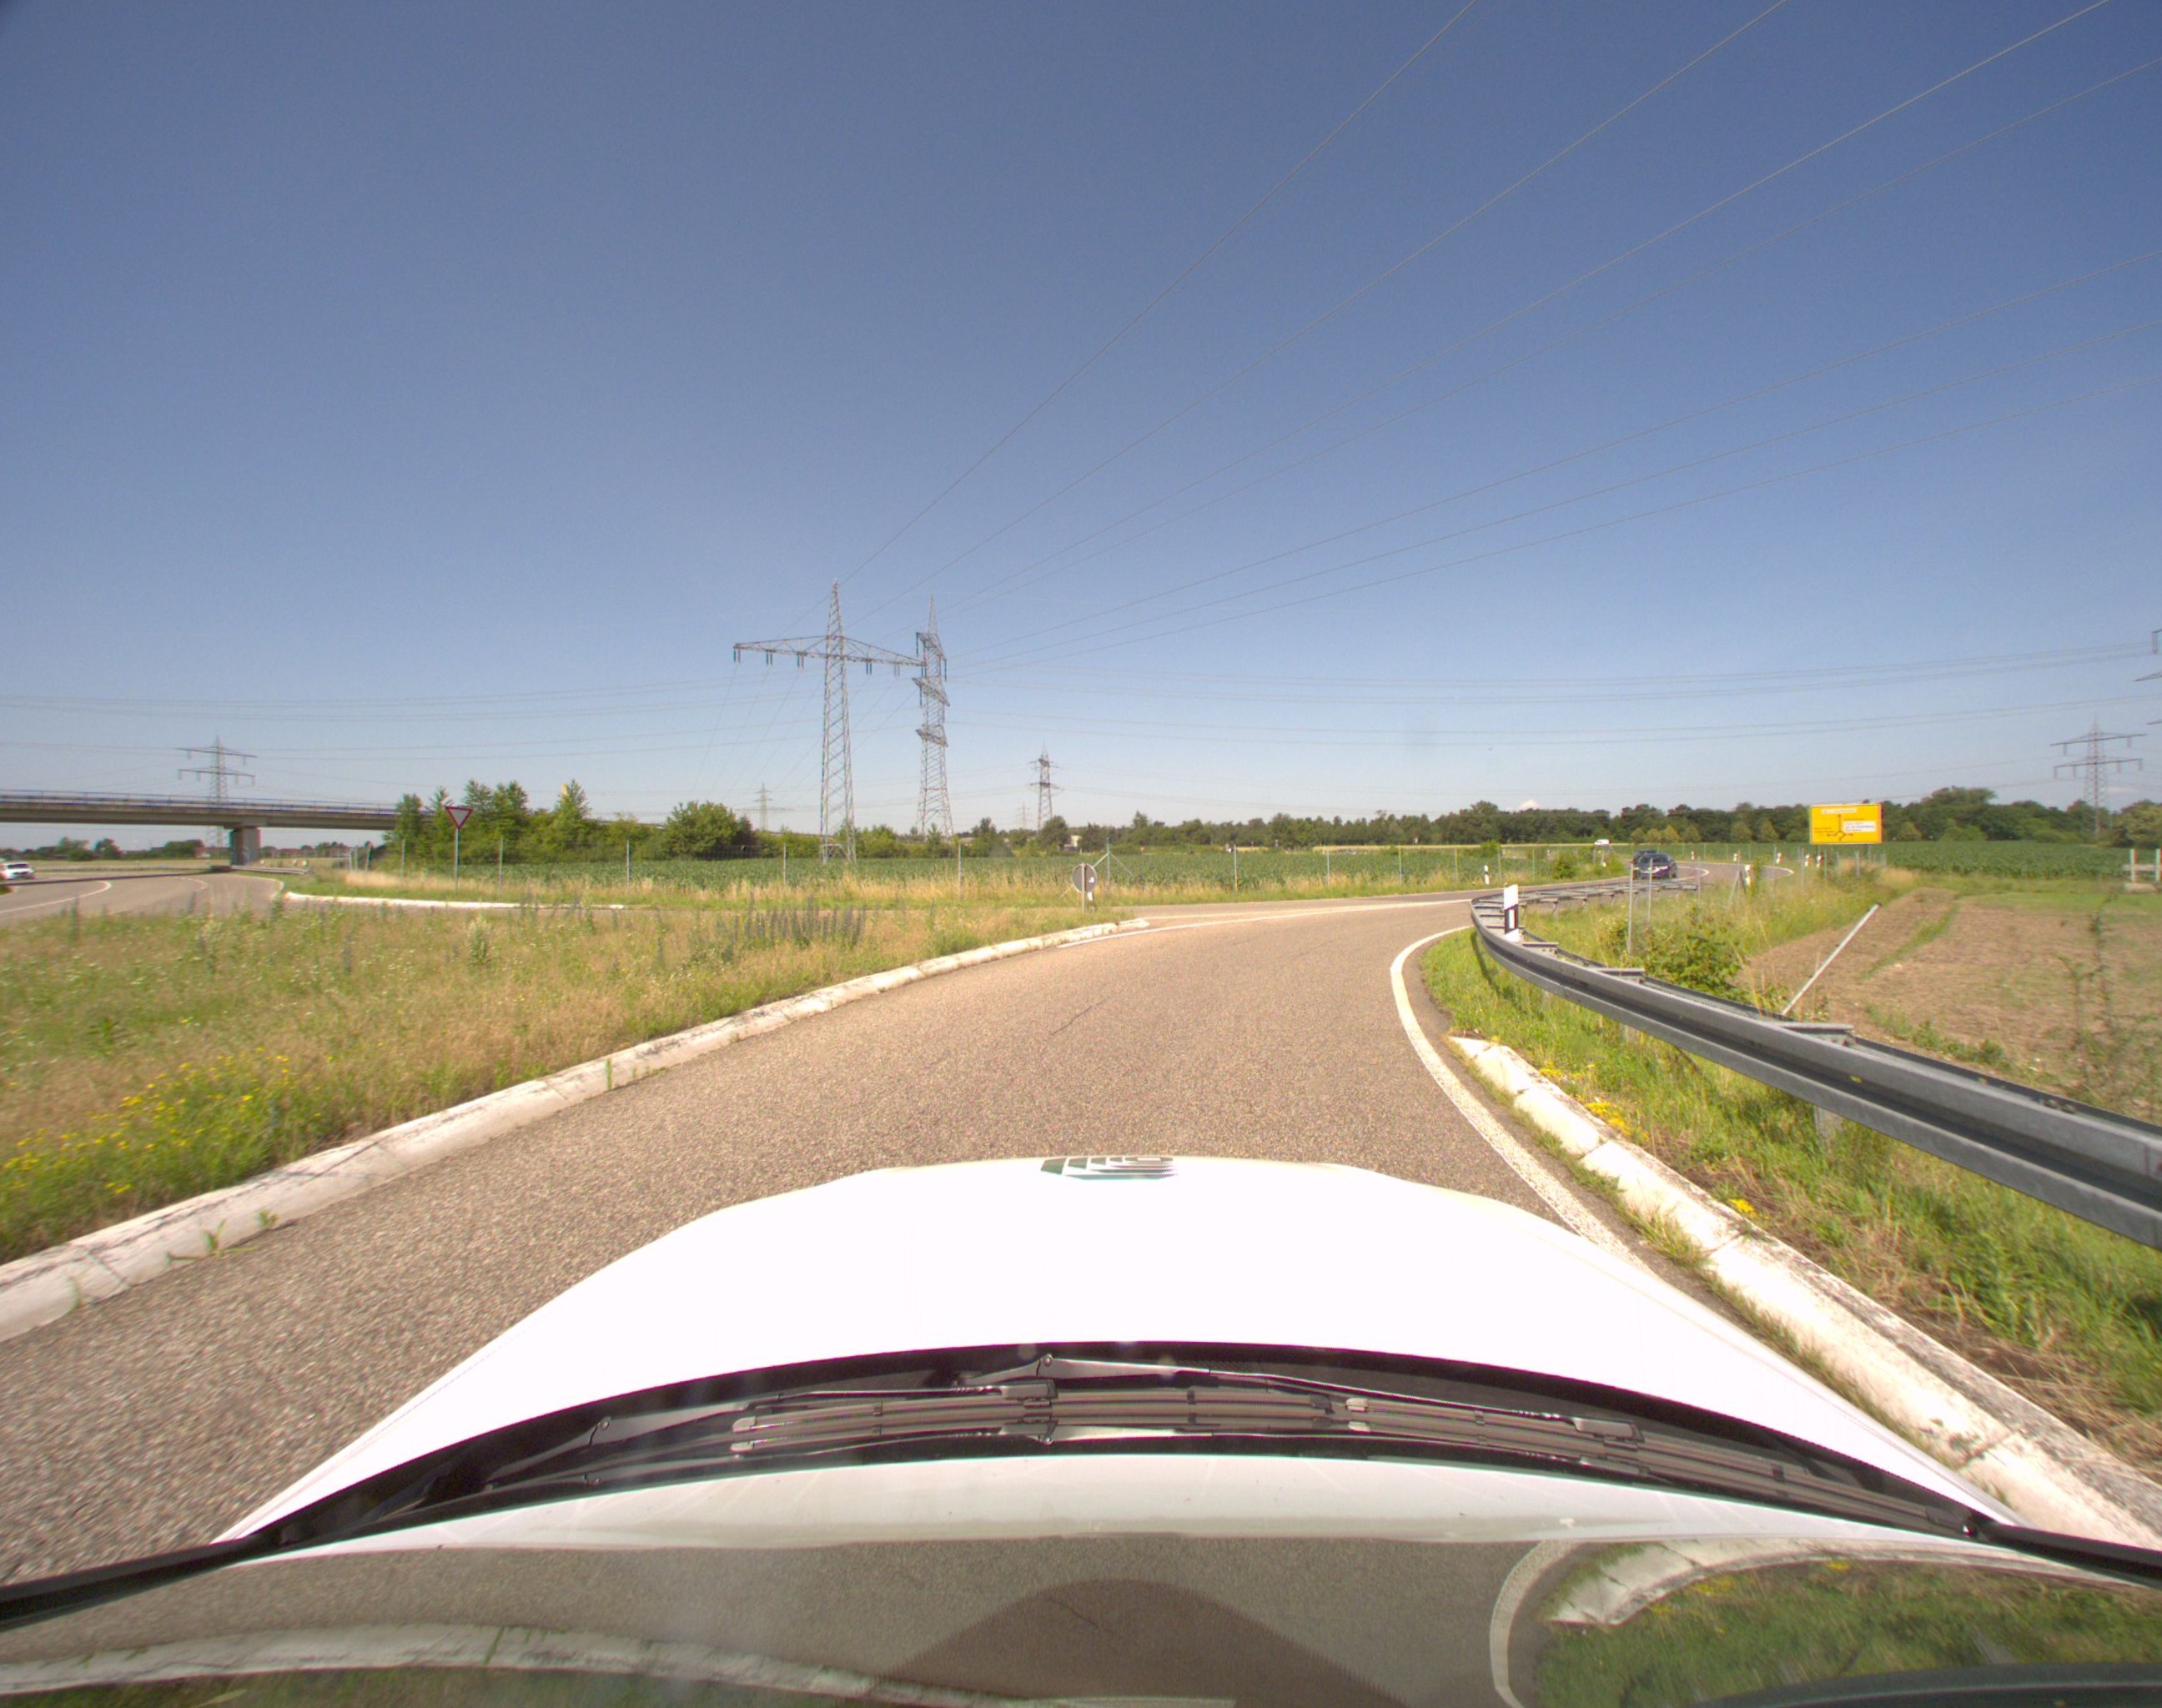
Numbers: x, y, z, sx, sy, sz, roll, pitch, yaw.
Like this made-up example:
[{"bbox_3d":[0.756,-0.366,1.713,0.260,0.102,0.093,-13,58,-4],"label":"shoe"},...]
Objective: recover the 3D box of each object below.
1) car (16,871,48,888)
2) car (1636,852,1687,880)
[{"bbox_3d":[-115.968,2.846,90.037,5.285,1.639,2.115,1,1,38],"label":"car"},{"bbox_3d":[33.106,0.651,46.405,1.758,1.456,4.620,0,1,44],"label":"car"}]
